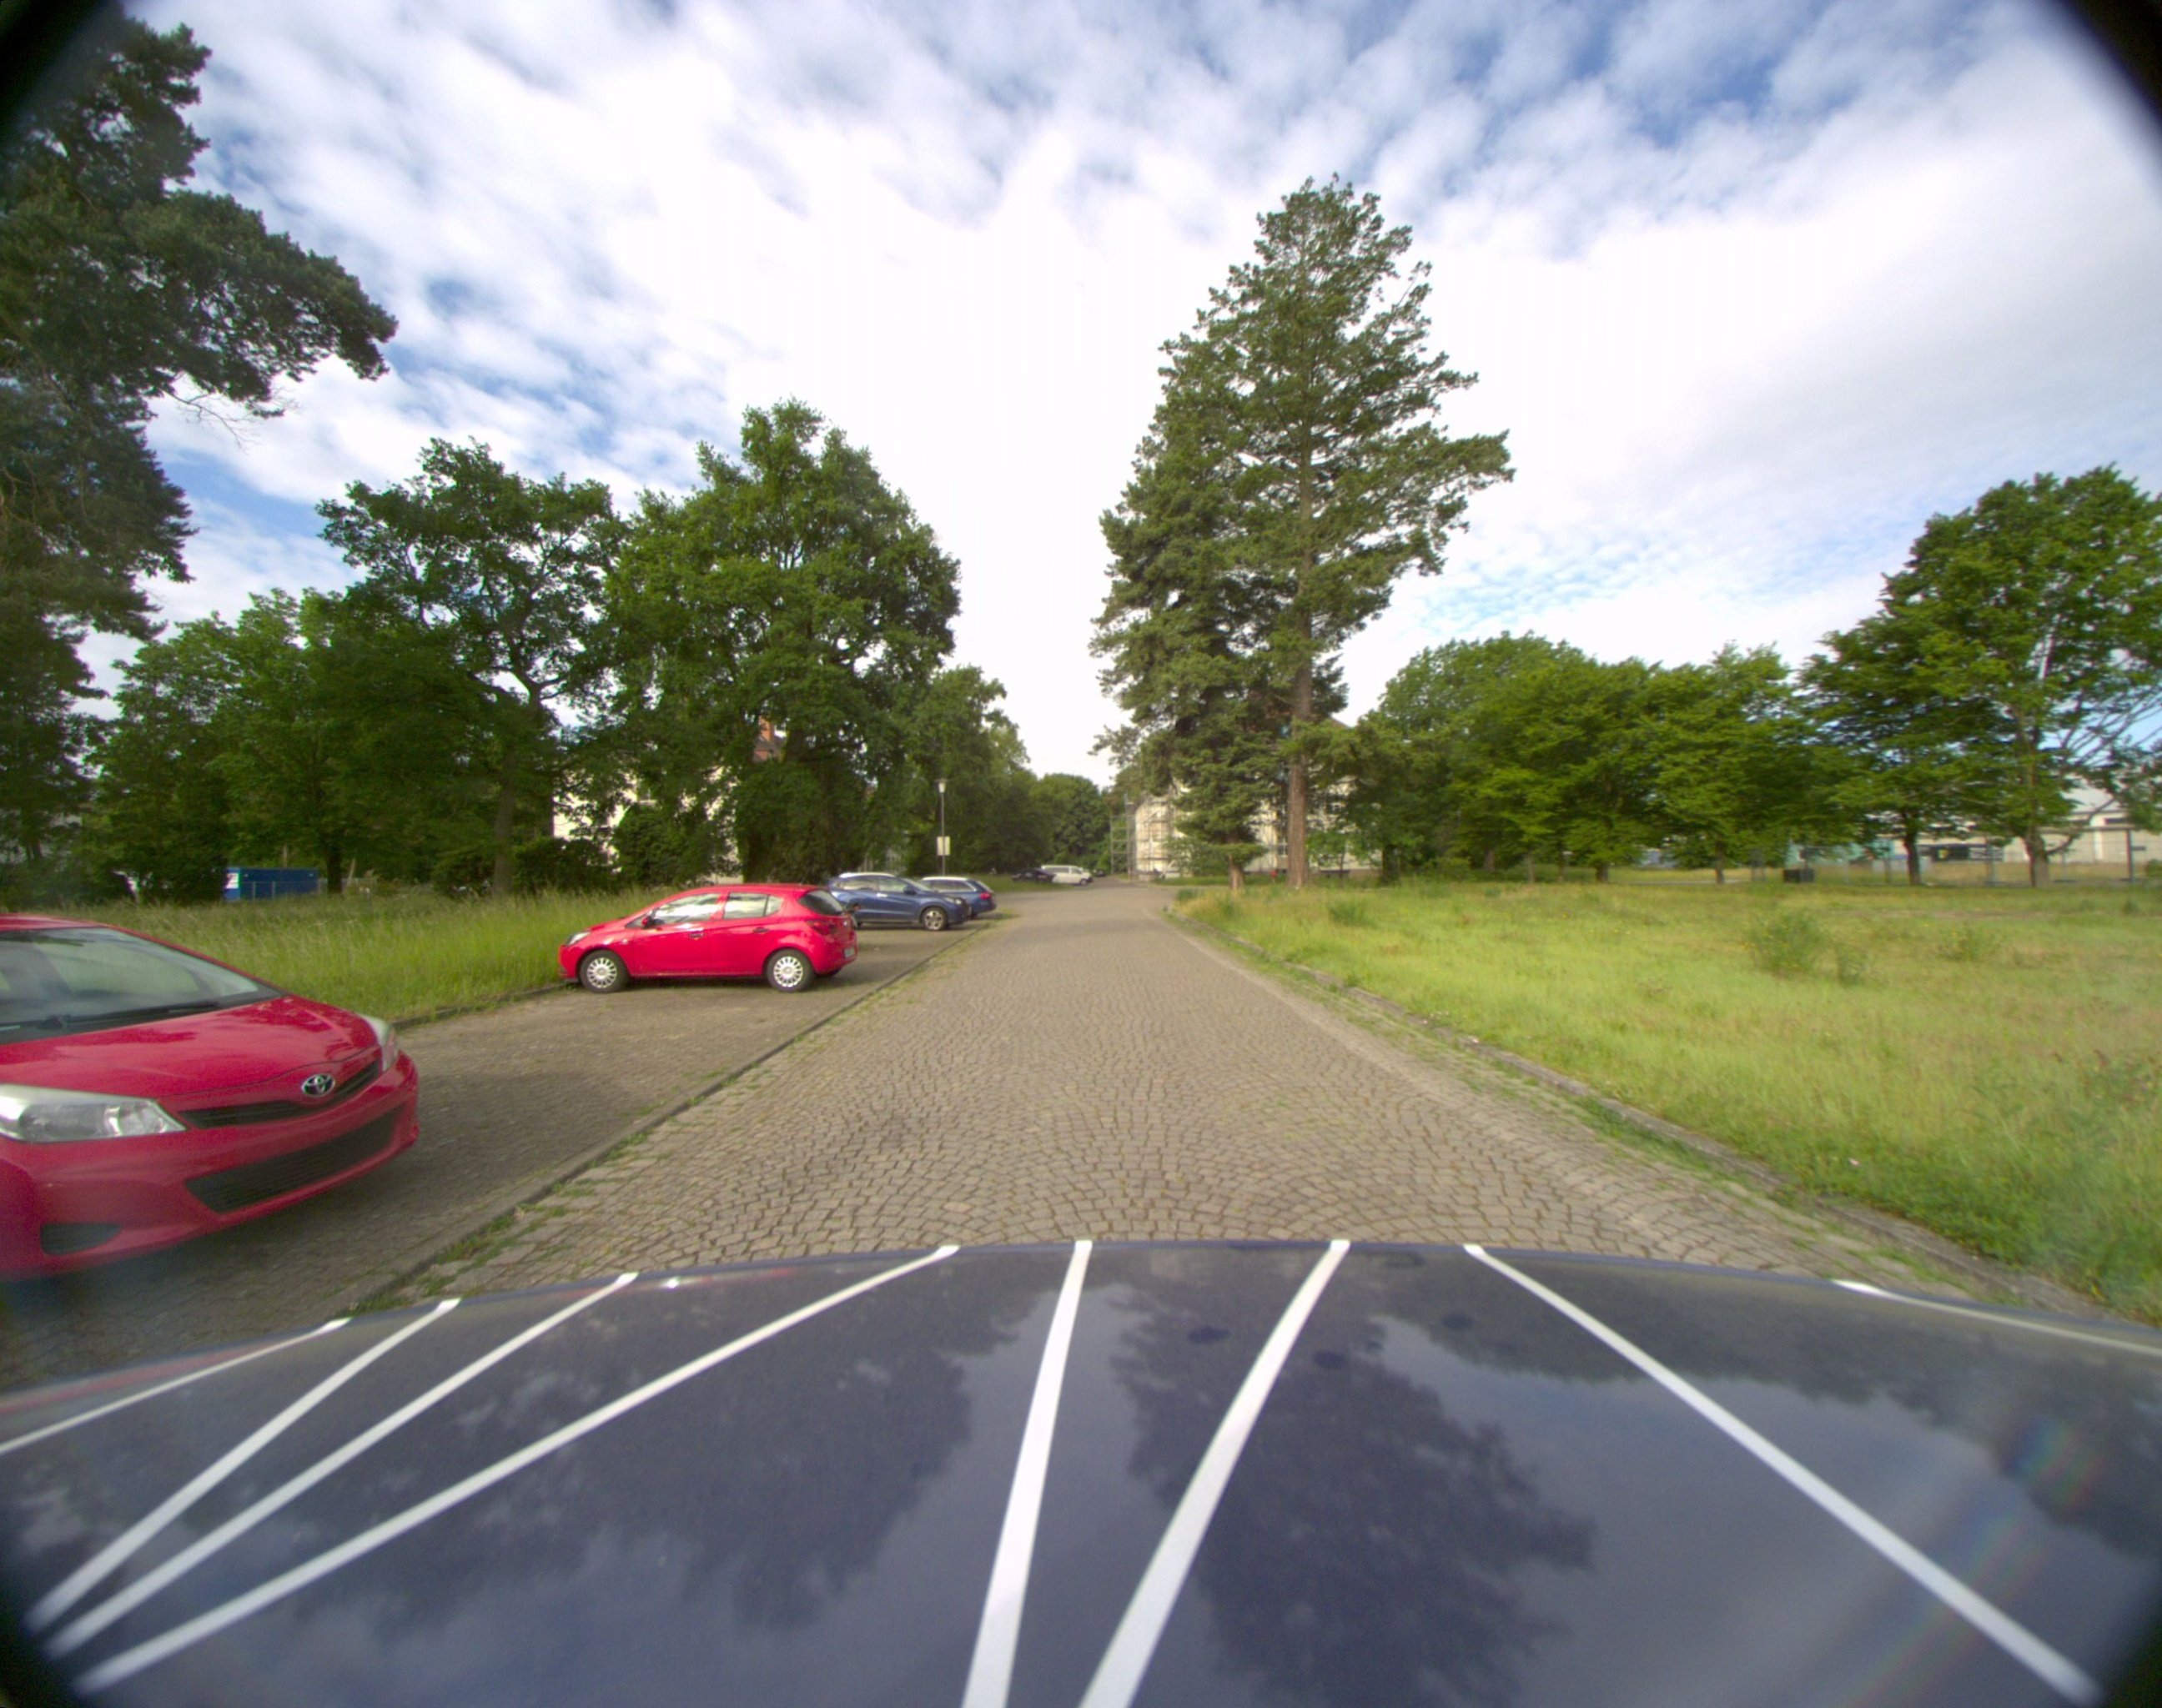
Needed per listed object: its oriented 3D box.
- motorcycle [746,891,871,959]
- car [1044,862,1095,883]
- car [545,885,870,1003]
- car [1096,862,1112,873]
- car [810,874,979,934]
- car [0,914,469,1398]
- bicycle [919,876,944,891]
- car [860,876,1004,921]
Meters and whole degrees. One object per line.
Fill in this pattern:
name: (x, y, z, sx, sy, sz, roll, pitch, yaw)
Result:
motorcycle: (-5.475, 1.414, 15.349, 2.271, 1.267, 0.605, -1, 0, -5)
car: (-1.181, 1.798, 74.815, 4.916, 1.982, 2.000, -1, -1, -3)
car: (-5.217, 1.231, 11.005, 3.849, 1.496, 1.738, 0, -1, -1)
car: (4.275, 2.567, 141.016, 2.029, 1.915, 3.997, -1, -1, -11)
car: (-5.120, 1.363, 21.311, 4.274, 1.564, 1.895, 0, -1, -1)
car: (-5.460, 1.119, 3.406, 3.997, 1.509, 1.738, -1, -1, 0)
bicycle: (-11.447, 2.243, 58.206, 1.868, 1.082, 0.519, -1, 2, -22)
car: (-5.033, 1.489, 26.084, 4.515, 1.456, 1.896, 0, -1, 3)
